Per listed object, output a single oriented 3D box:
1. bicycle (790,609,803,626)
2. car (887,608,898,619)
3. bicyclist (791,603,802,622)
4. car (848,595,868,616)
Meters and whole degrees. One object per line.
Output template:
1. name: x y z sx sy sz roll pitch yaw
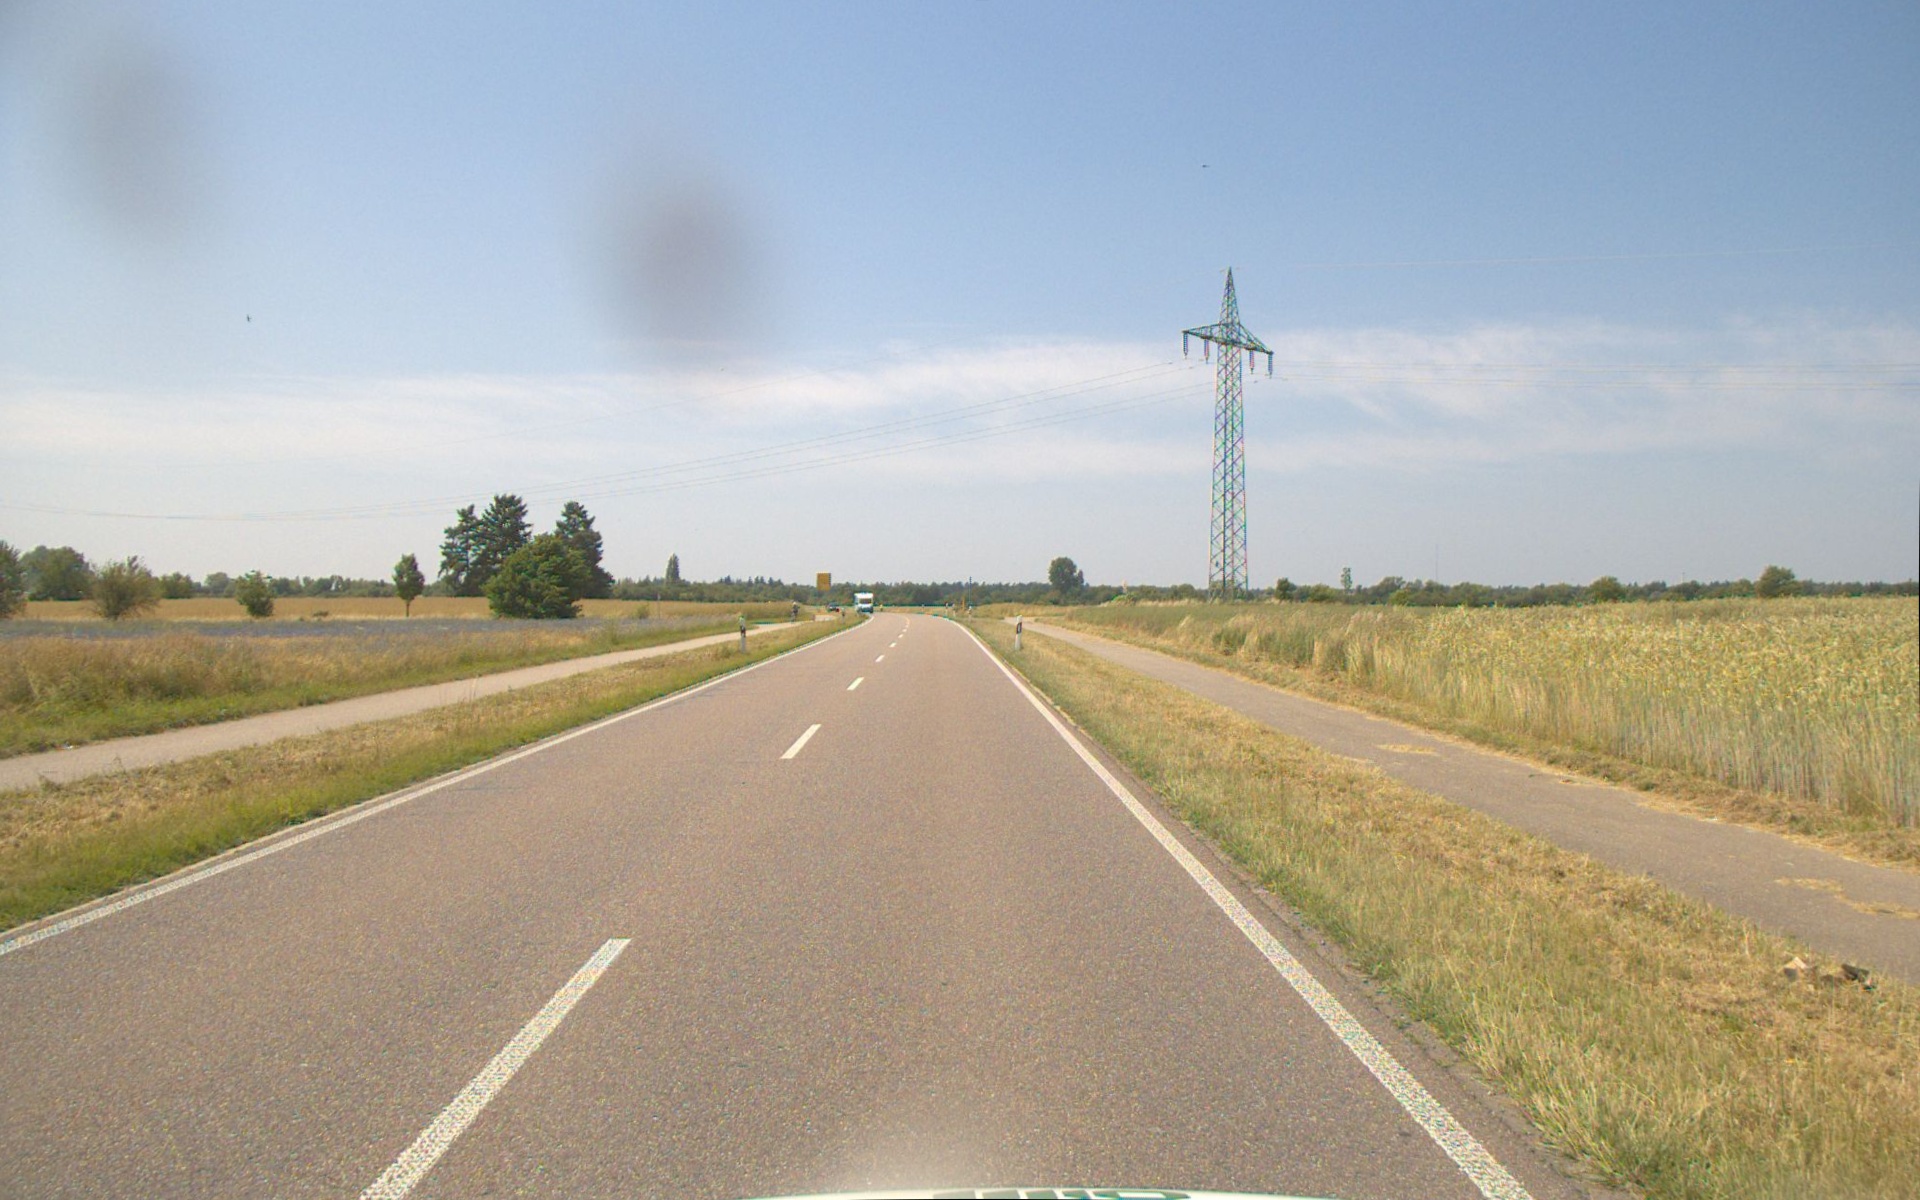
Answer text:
1. bicycle: -11.821 1.255 119.829 0.747 1.250 2.215 -1 0 -1
2. car: -9.861 1.992 241.161 1.591 1.517 3.998 0 1 -3
3. bicyclist: -11.829 0.922 119.763 0.687 1.354 0.965 -1 0 -2
4. car: -14.051 0.791 228.254 2.349 2.897 7.625 0 0 -2
